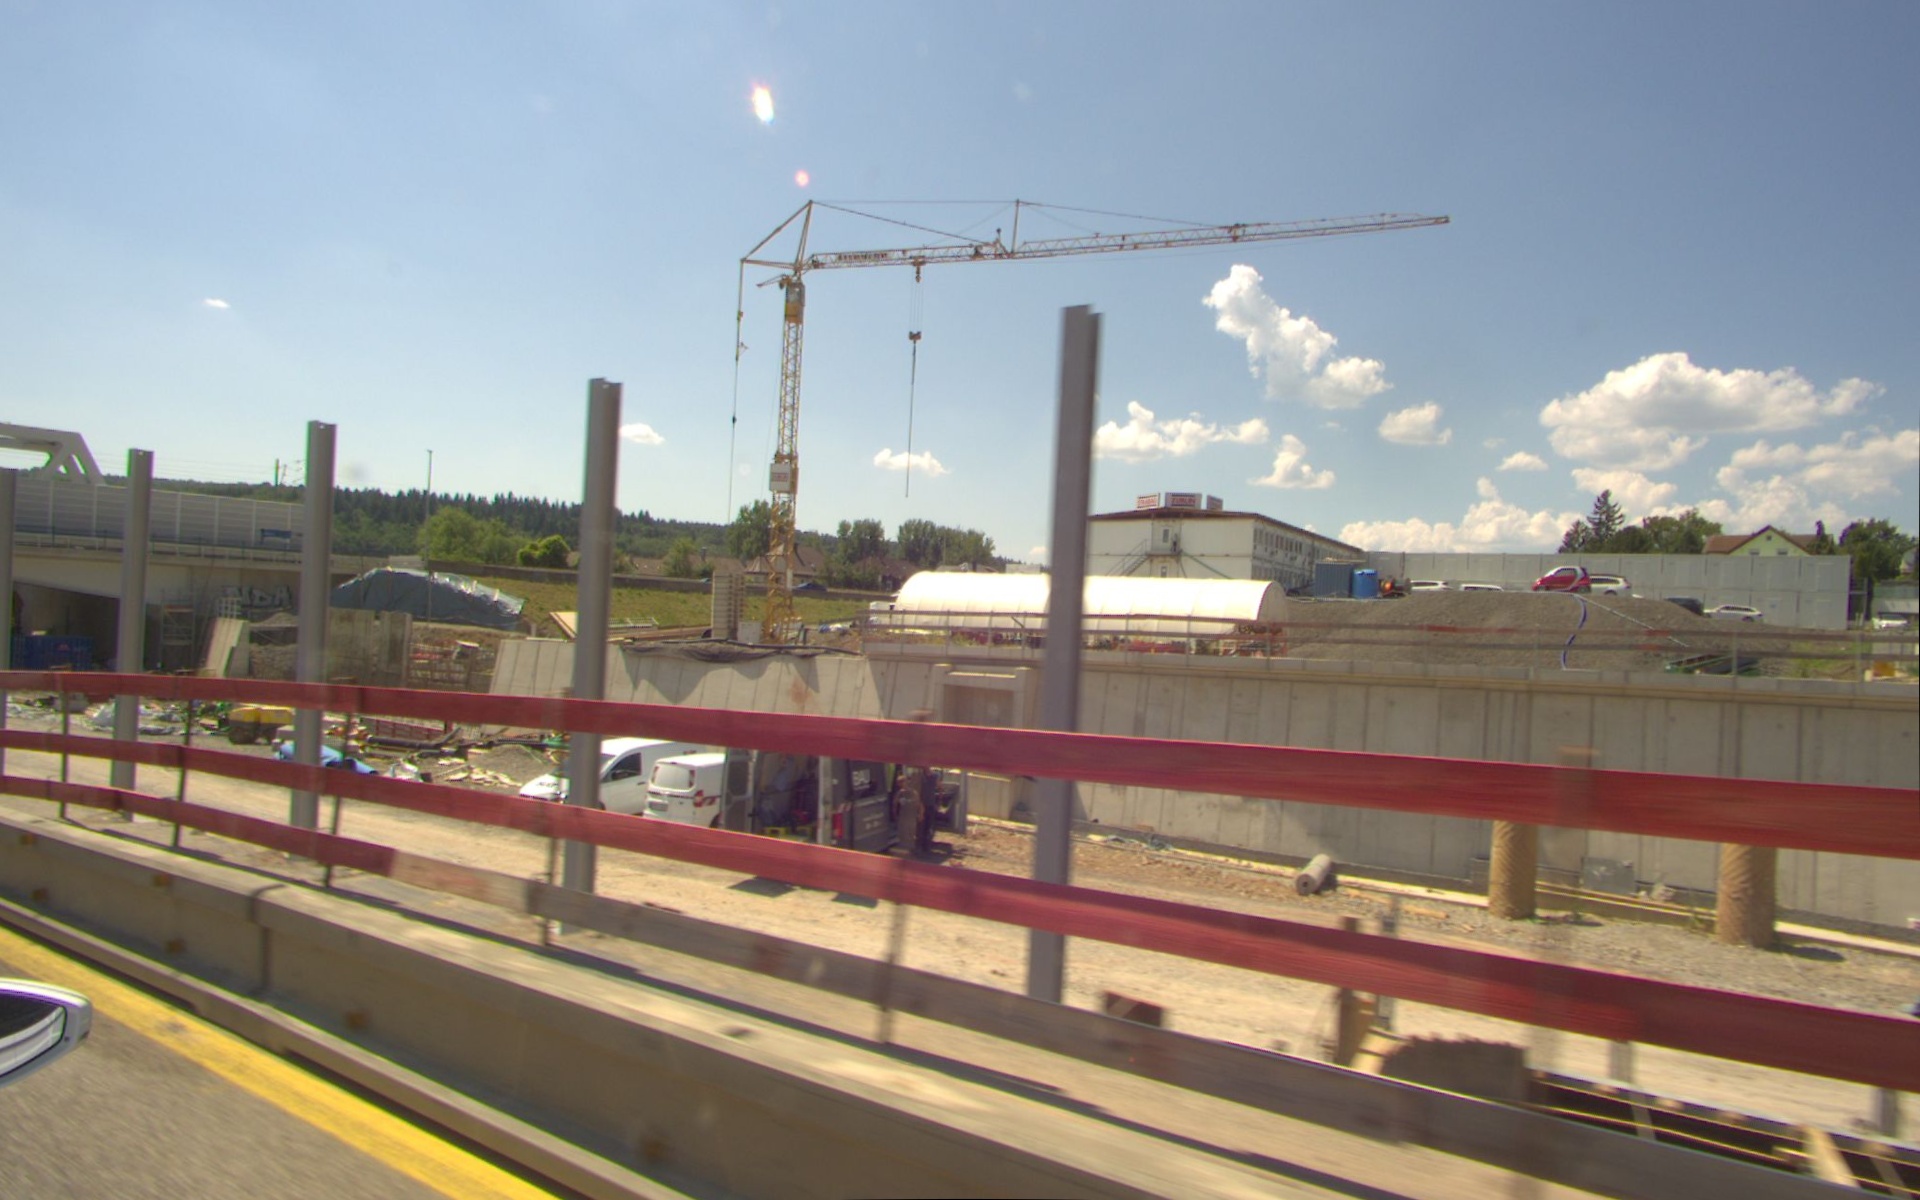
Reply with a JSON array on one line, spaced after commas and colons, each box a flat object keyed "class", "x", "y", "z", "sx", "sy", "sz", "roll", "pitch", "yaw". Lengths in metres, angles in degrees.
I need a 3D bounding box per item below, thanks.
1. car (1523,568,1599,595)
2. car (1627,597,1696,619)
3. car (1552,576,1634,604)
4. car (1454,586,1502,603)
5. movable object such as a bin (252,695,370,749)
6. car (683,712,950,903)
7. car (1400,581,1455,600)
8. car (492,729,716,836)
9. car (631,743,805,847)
[{"class": "car", "x": 31.640, "y": -0.953, "z": 52.800, "sx": 3.380, "sy": 1.333, "sz": 1.512, "roll": 0, "pitch": -1, "yaw": 32}, {"class": "car", "x": 51.473, "y": 0.591, "z": 73.533, "sx": 4.016, "sy": 1.537, "sz": 1.678, "roll": 0, "pitch": -1, "yaw": 32}, {"class": "car", "x": 36.969, "y": -0.534, "z": 58.560, "sx": 4.016, "sy": 1.537, "sz": 1.678, "roll": 0, "pitch": -1, "yaw": 32}, {"class": "car", "x": 41.479, "y": -0.426, "z": 80.191, "sx": 3.380, "sy": 1.297, "sz": 1.512, "roll": 0, "pitch": -1, "yaw": 32}, {"class": "movable object such as a bin", "x": -21.580, "y": 4.036, "z": 33.408, "sx": 3.058, "sy": 1.583, "sz": 1.548, "roll": 1, "pitch": -1, "yaw": -24}, {"class": "car", "x": -2.508, "y": 3.778, "z": 19.758, "sx": 2.485, "sy": 2.617, "sz": 6.099, "roll": 2, "pitch": -2, "yaw": 21}, {"class": "car", "x": 33.264, "y": -0.645, "z": 71.237, "sx": 3.380, "sy": 1.297, "sz": 1.512, "roll": 0, "pitch": -1, "yaw": 32}, {"class": "car", "x": -8.192, "y": 4.154, "z": 23.504, "sx": 1.970, "sy": 1.796, "sz": 4.724, "roll": 2, "pitch": -2, "yaw": 31}, {"class": "car", "x": -5.304, "y": 4.251, "z": 22.427, "sx": 1.739, "sy": 1.689, "sz": 3.761, "roll": 2, "pitch": -2, "yaw": 26}]
